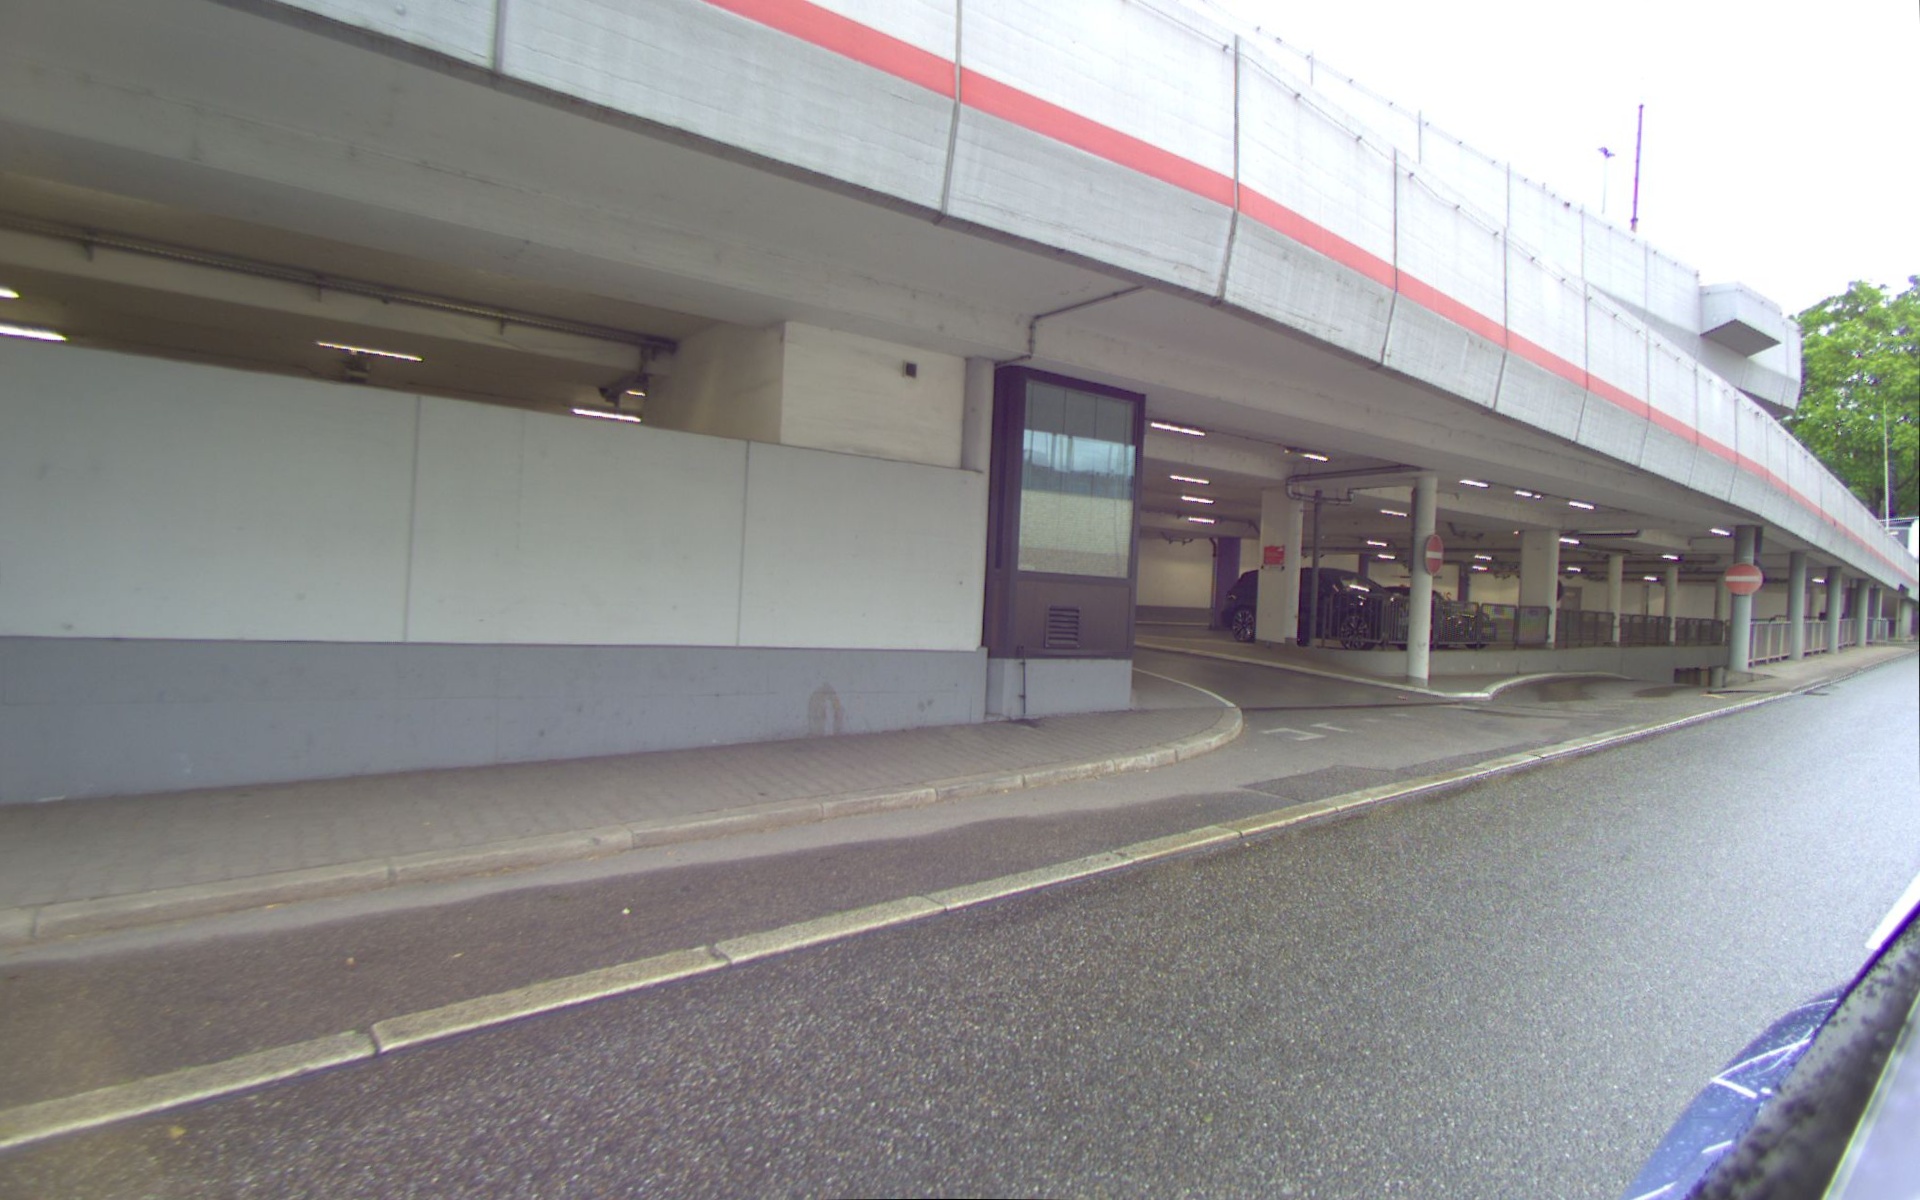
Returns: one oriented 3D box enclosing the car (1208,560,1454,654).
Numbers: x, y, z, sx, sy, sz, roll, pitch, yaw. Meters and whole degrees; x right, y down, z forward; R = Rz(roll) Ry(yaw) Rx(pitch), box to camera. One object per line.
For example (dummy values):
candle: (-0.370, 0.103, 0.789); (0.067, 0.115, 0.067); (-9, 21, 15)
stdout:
car: (7.563, 0.080, 21.095); (1.787, 1.660, 4.593); (2, 1, -34)

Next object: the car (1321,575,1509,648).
car: (10.912, 0.239, 24.477); (1.773, 1.524, 3.736); (1, 2, -36)
